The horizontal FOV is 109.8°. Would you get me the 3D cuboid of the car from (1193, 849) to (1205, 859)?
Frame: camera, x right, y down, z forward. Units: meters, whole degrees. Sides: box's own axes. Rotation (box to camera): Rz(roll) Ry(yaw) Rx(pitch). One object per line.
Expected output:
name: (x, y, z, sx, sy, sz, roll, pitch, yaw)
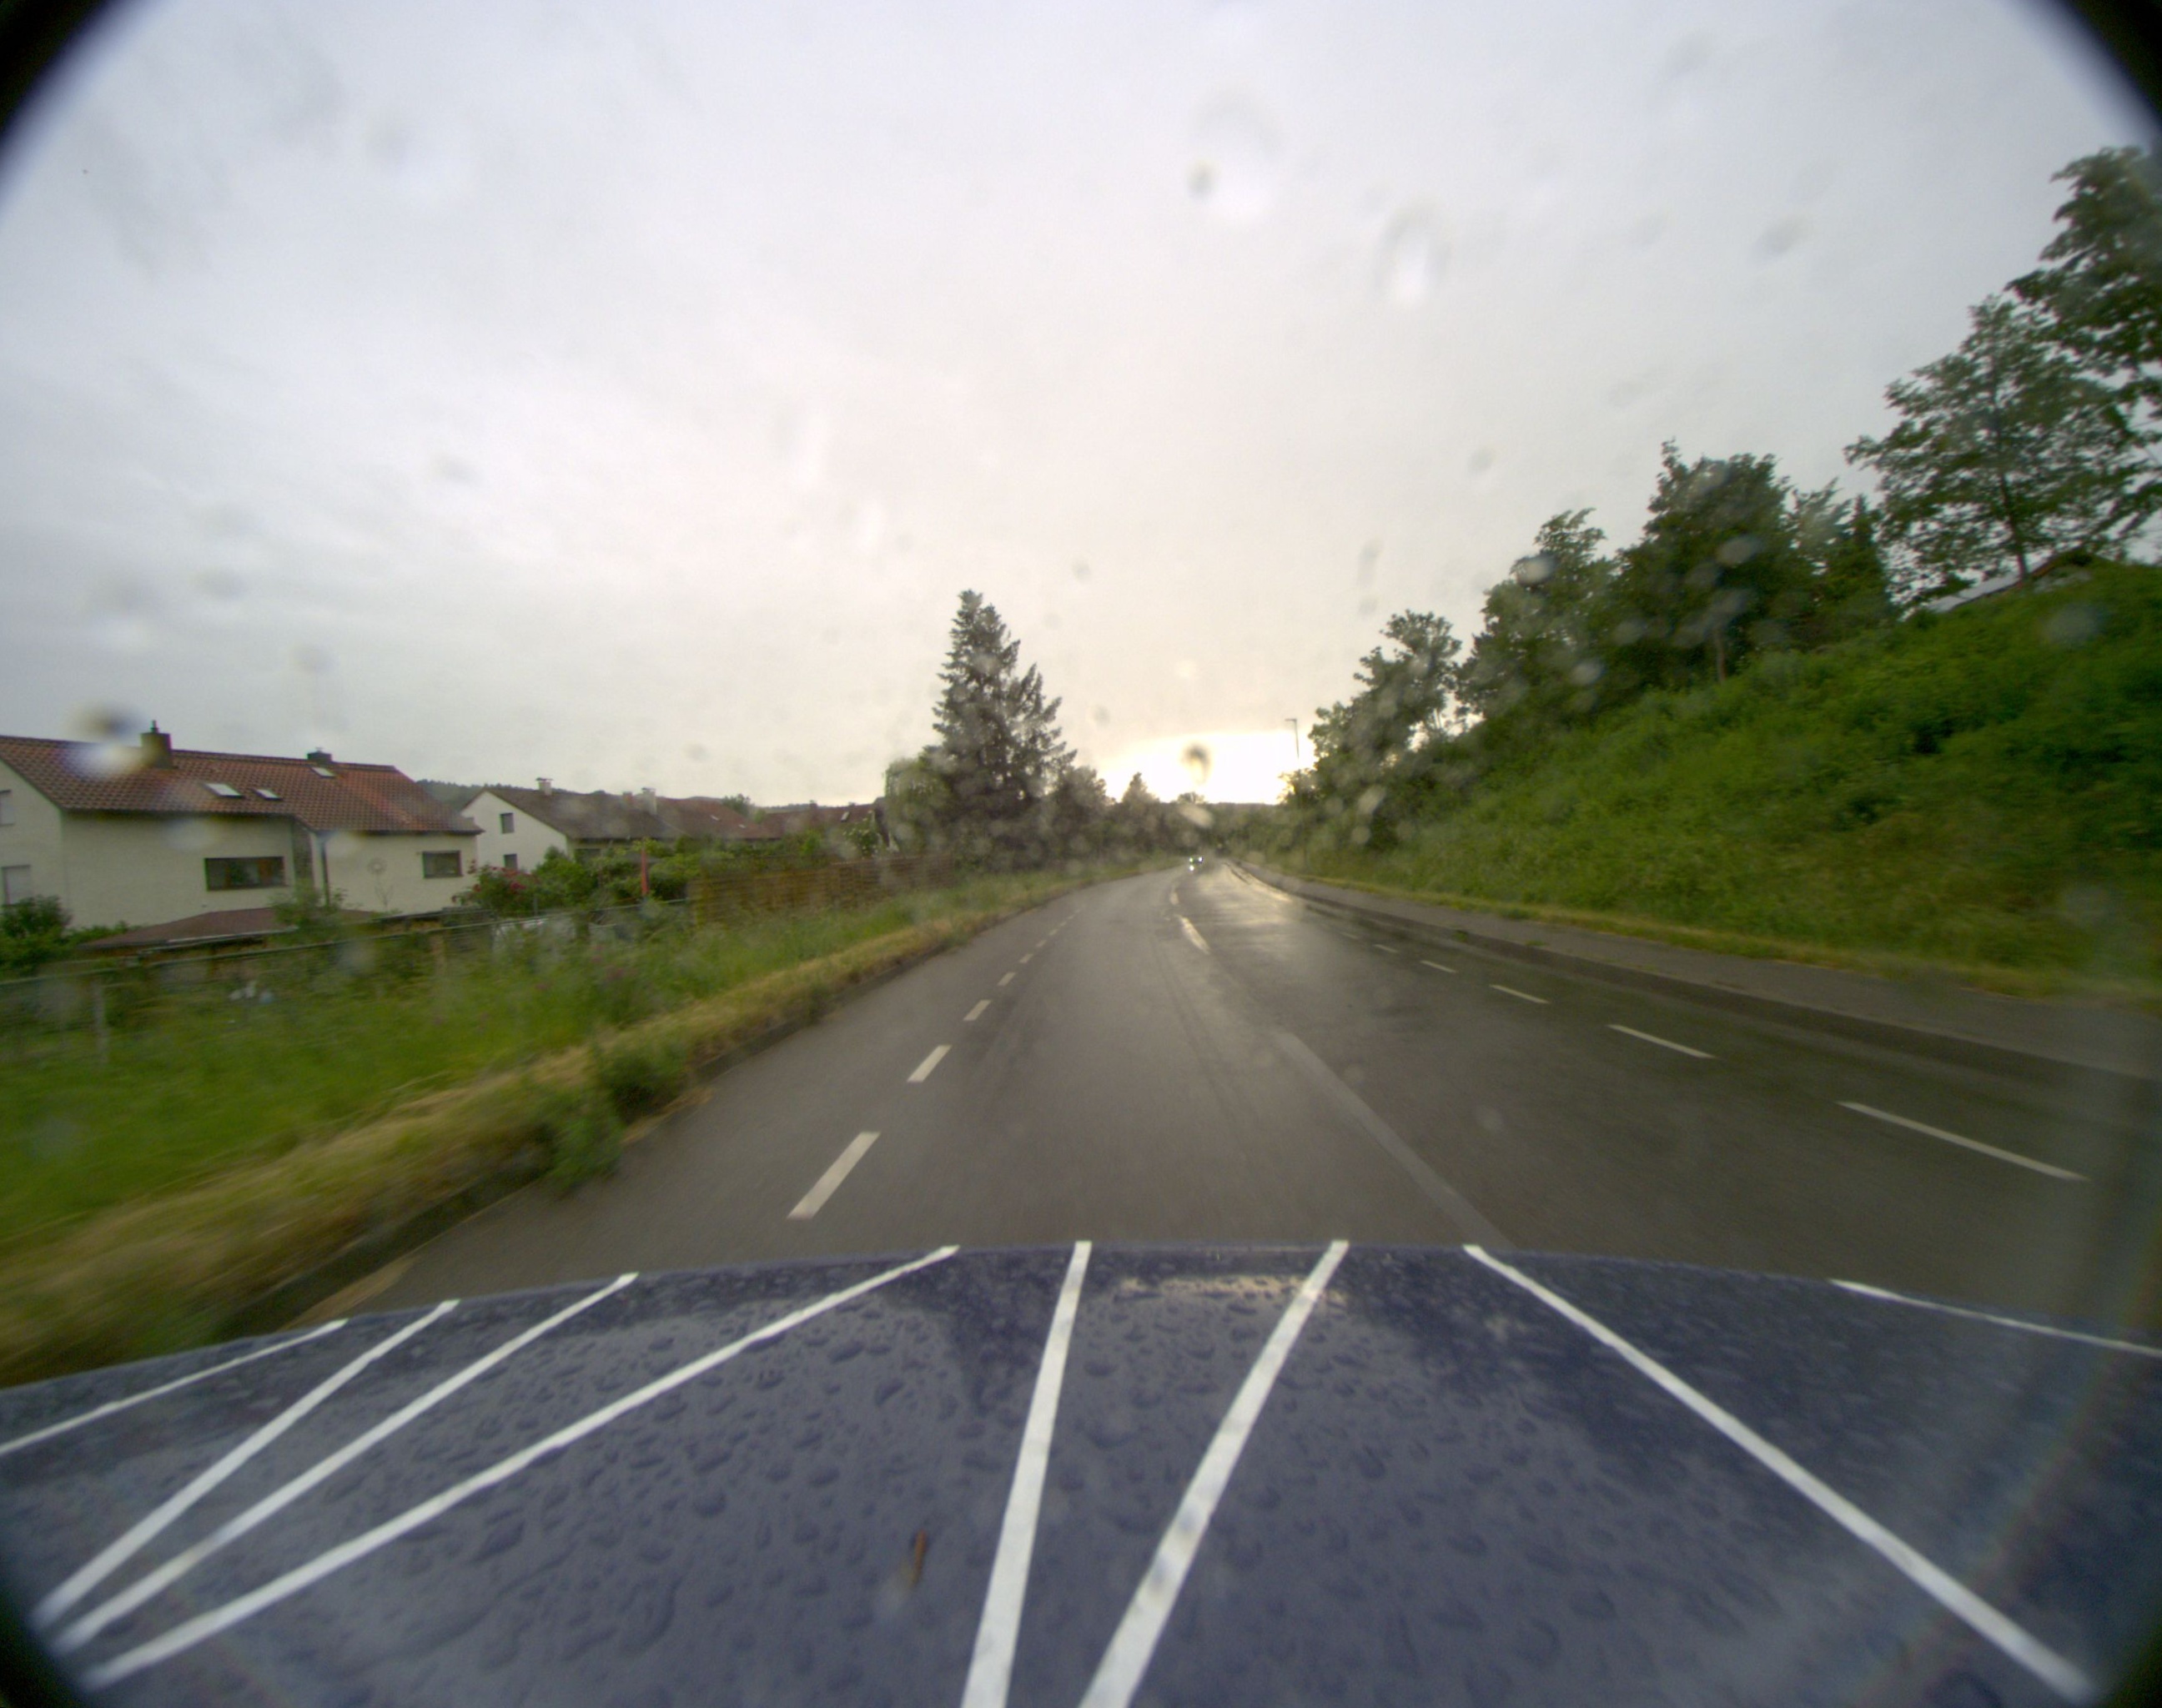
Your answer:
car: (19.502, -0.029, 126.120, 1.878, 1.596, 4.002, -1, 0, 8)
